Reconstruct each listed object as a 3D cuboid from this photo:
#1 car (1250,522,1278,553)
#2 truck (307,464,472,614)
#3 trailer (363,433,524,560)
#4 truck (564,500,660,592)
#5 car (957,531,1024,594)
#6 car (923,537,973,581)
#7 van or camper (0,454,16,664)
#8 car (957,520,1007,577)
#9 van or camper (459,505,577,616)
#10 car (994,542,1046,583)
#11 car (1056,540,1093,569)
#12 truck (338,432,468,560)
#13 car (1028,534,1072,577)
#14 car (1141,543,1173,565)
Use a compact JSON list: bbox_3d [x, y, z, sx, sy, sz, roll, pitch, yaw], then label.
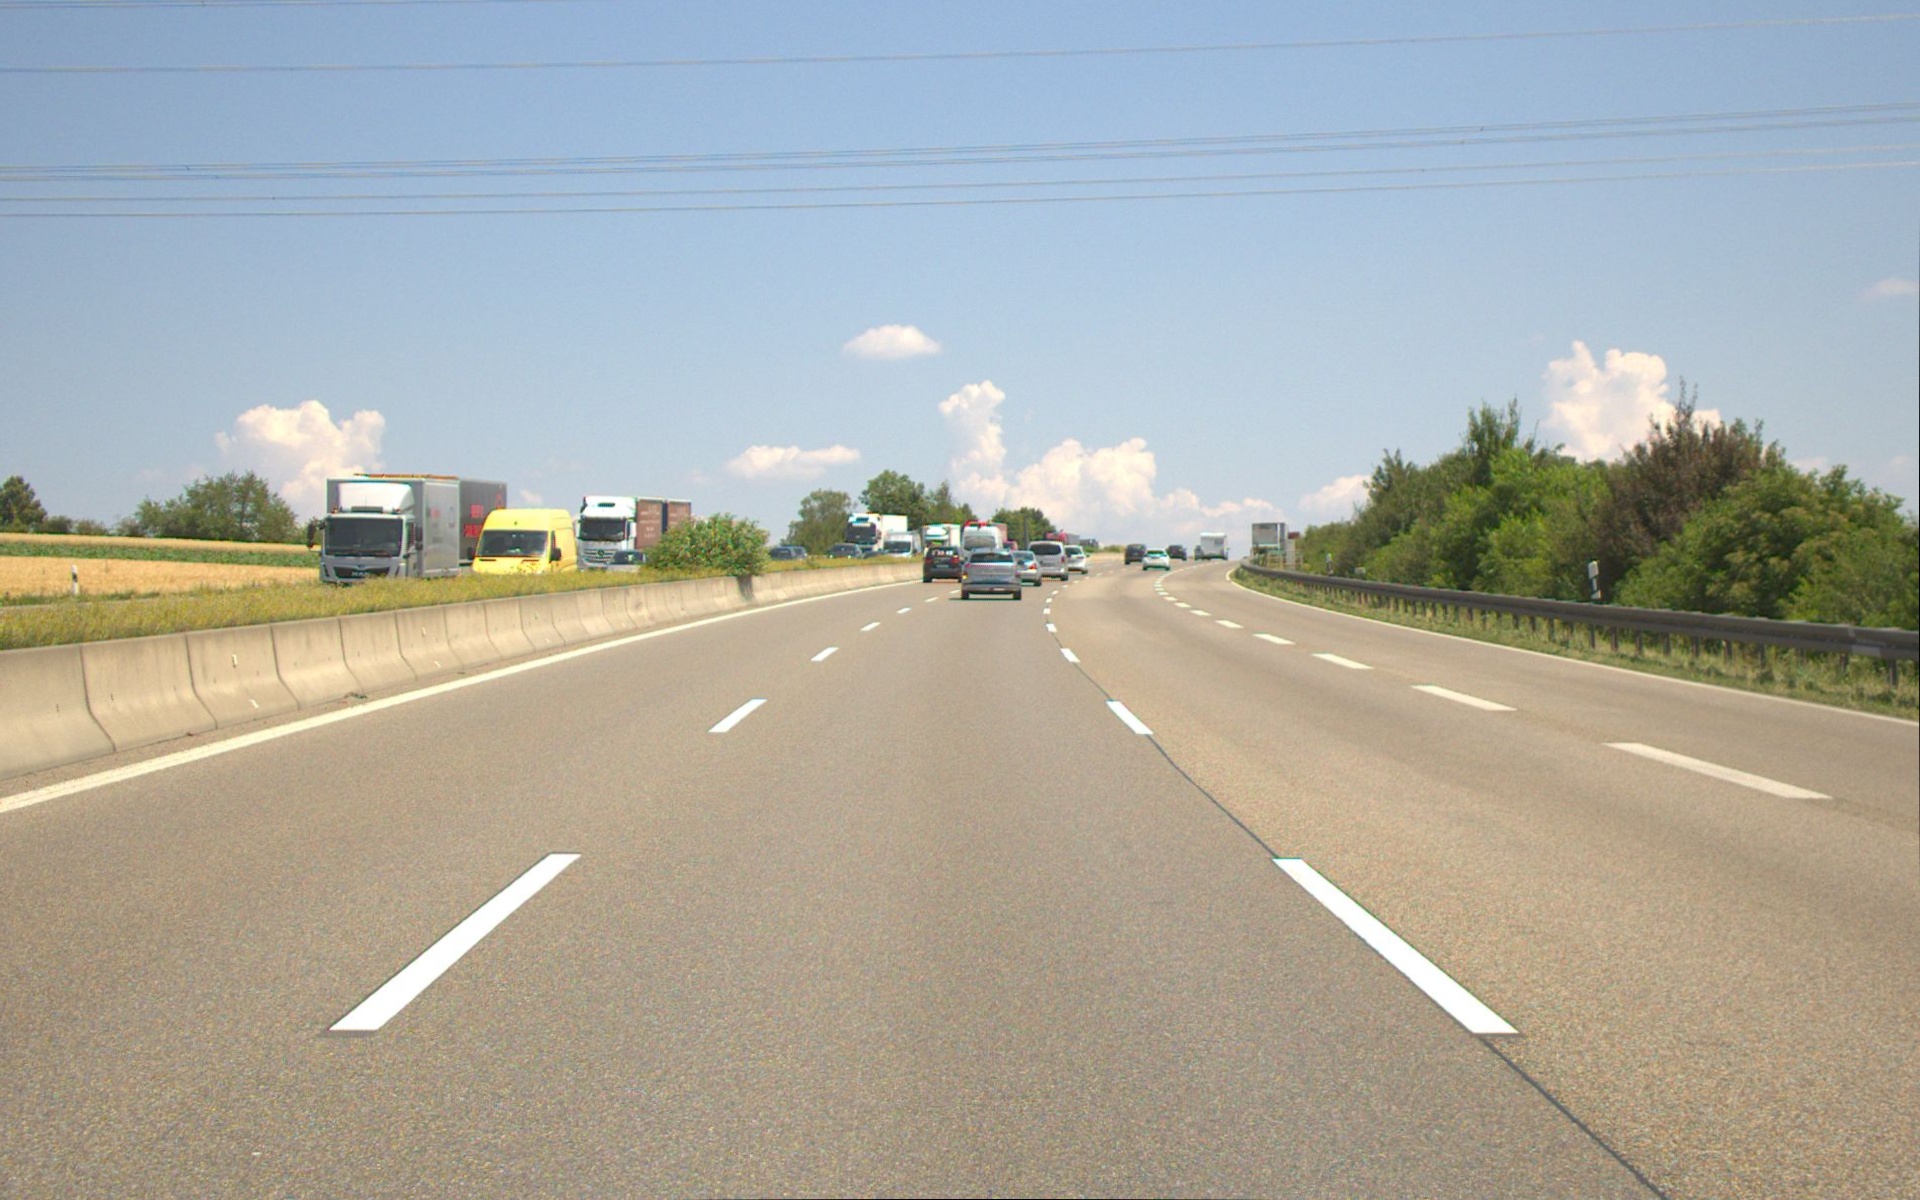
[{"bbox_3d":[22.394,-4.605,253.460,1.994,2.293,6.262,0,1,6],"label":"car"},{"bbox_3d":[-14.895,-1.626,90.353,2.936,3.730,7.780,1,1,1],"label":"truck"},{"bbox_3d":[-17.610,-3.452,118.195,2.793,4.091,14.006,1,1,3],"label":"trailer"},{"bbox_3d":[-16.305,-2.543,161.759,2.888,4.157,10.622,1,1,3],"label":"truck"},{"bbox_3d":[0.915,-1.126,105.428,1.993,1.744,4.000,1,-2,0],"label":"car"},{"bbox_3d":[-0.507,-1.831,152.105,1.847,1.854,4.205,1,2,4],"label":"car"},{"bbox_3d":[-12.195,-0.425,36.907,2.067,2.455,7.520,-1,1,0],"label":"van or camper"},{"bbox_3d":[1.093,-2.543,171.355,2.180,2.616,4.671,1,-2,4],"label":"car"},{"bbox_3d":[-11.229,-1.023,87.675,2.084,2.698,6.139,1,1,1],"label":"van or camper"},{"bbox_3d":[2.416,-1.522,140.156,1.993,1.579,4.000,0,0,-1],"label":"car"},{"bbox_3d":[6.578,-2.624,197.324,1.994,1.546,4.000,2,1,3],"label":"car"},{"bbox_3d":[-17.984,-3.317,111.343,2.853,4.013,6.514,1,1,3],"label":"truck"},{"bbox_3d":[4.237,-2.082,161.636,1.994,1.897,3.999,0,-2,2],"label":"car"},{"bbox_3d":[12.940,-3.021,225.709,1.902,1.437,3.999,1,1,6],"label":"car"}]
